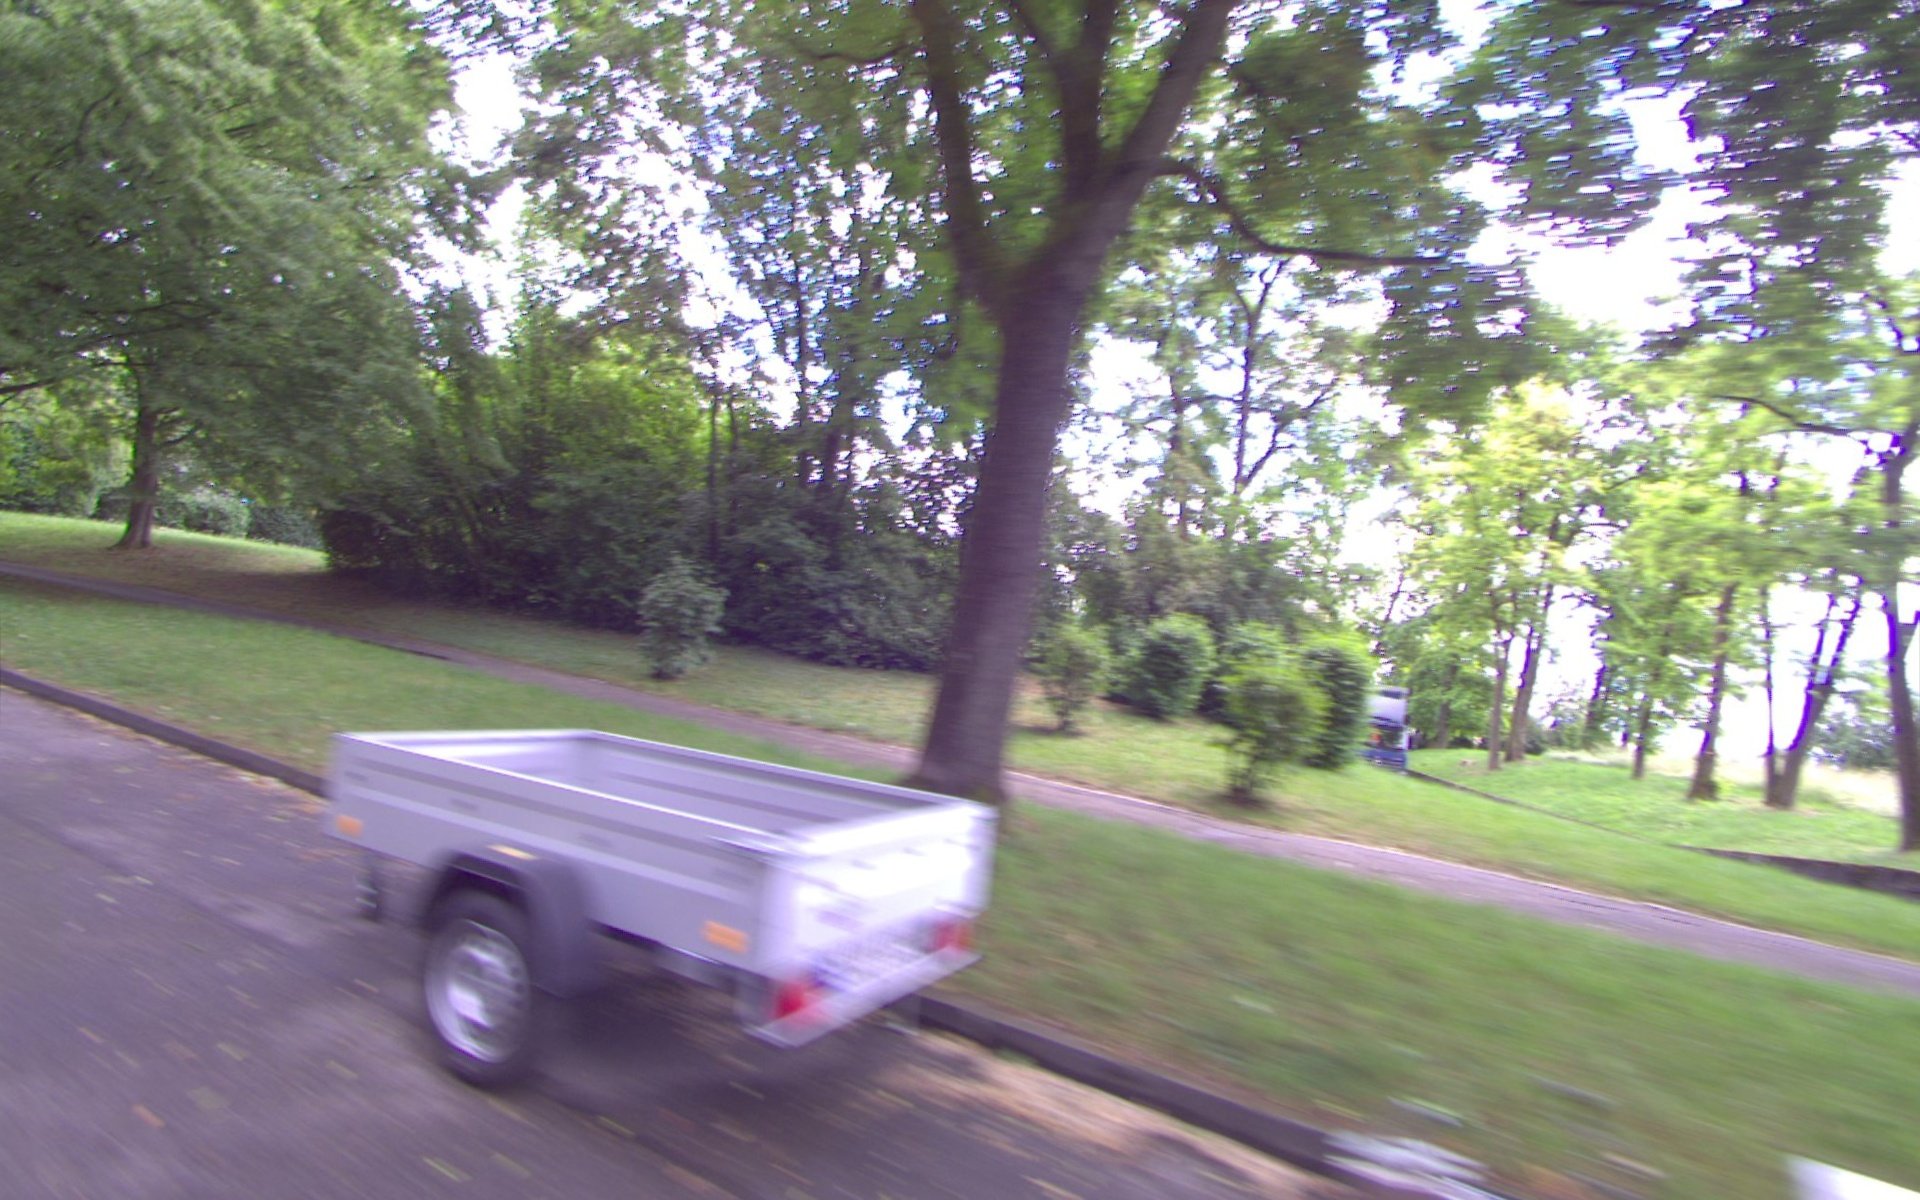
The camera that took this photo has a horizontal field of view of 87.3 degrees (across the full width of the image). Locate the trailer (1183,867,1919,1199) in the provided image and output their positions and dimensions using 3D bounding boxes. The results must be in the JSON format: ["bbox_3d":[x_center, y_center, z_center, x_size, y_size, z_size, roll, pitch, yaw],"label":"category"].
[{"bbox_3d":[2.331,1.393,1.288,3.832,0.980,1.359,8,-2,36],"label":"trailer"}]

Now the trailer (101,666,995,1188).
[{"bbox_3d":[-1.644,0.903,3.786,3.223,0.857,1.367,6,-3,30],"label":"trailer"}]

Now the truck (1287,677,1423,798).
[{"bbox_3d":[15.935,5.369,41.437,2.646,4.040,9.590,7,-3,8],"label":"truck"}]
